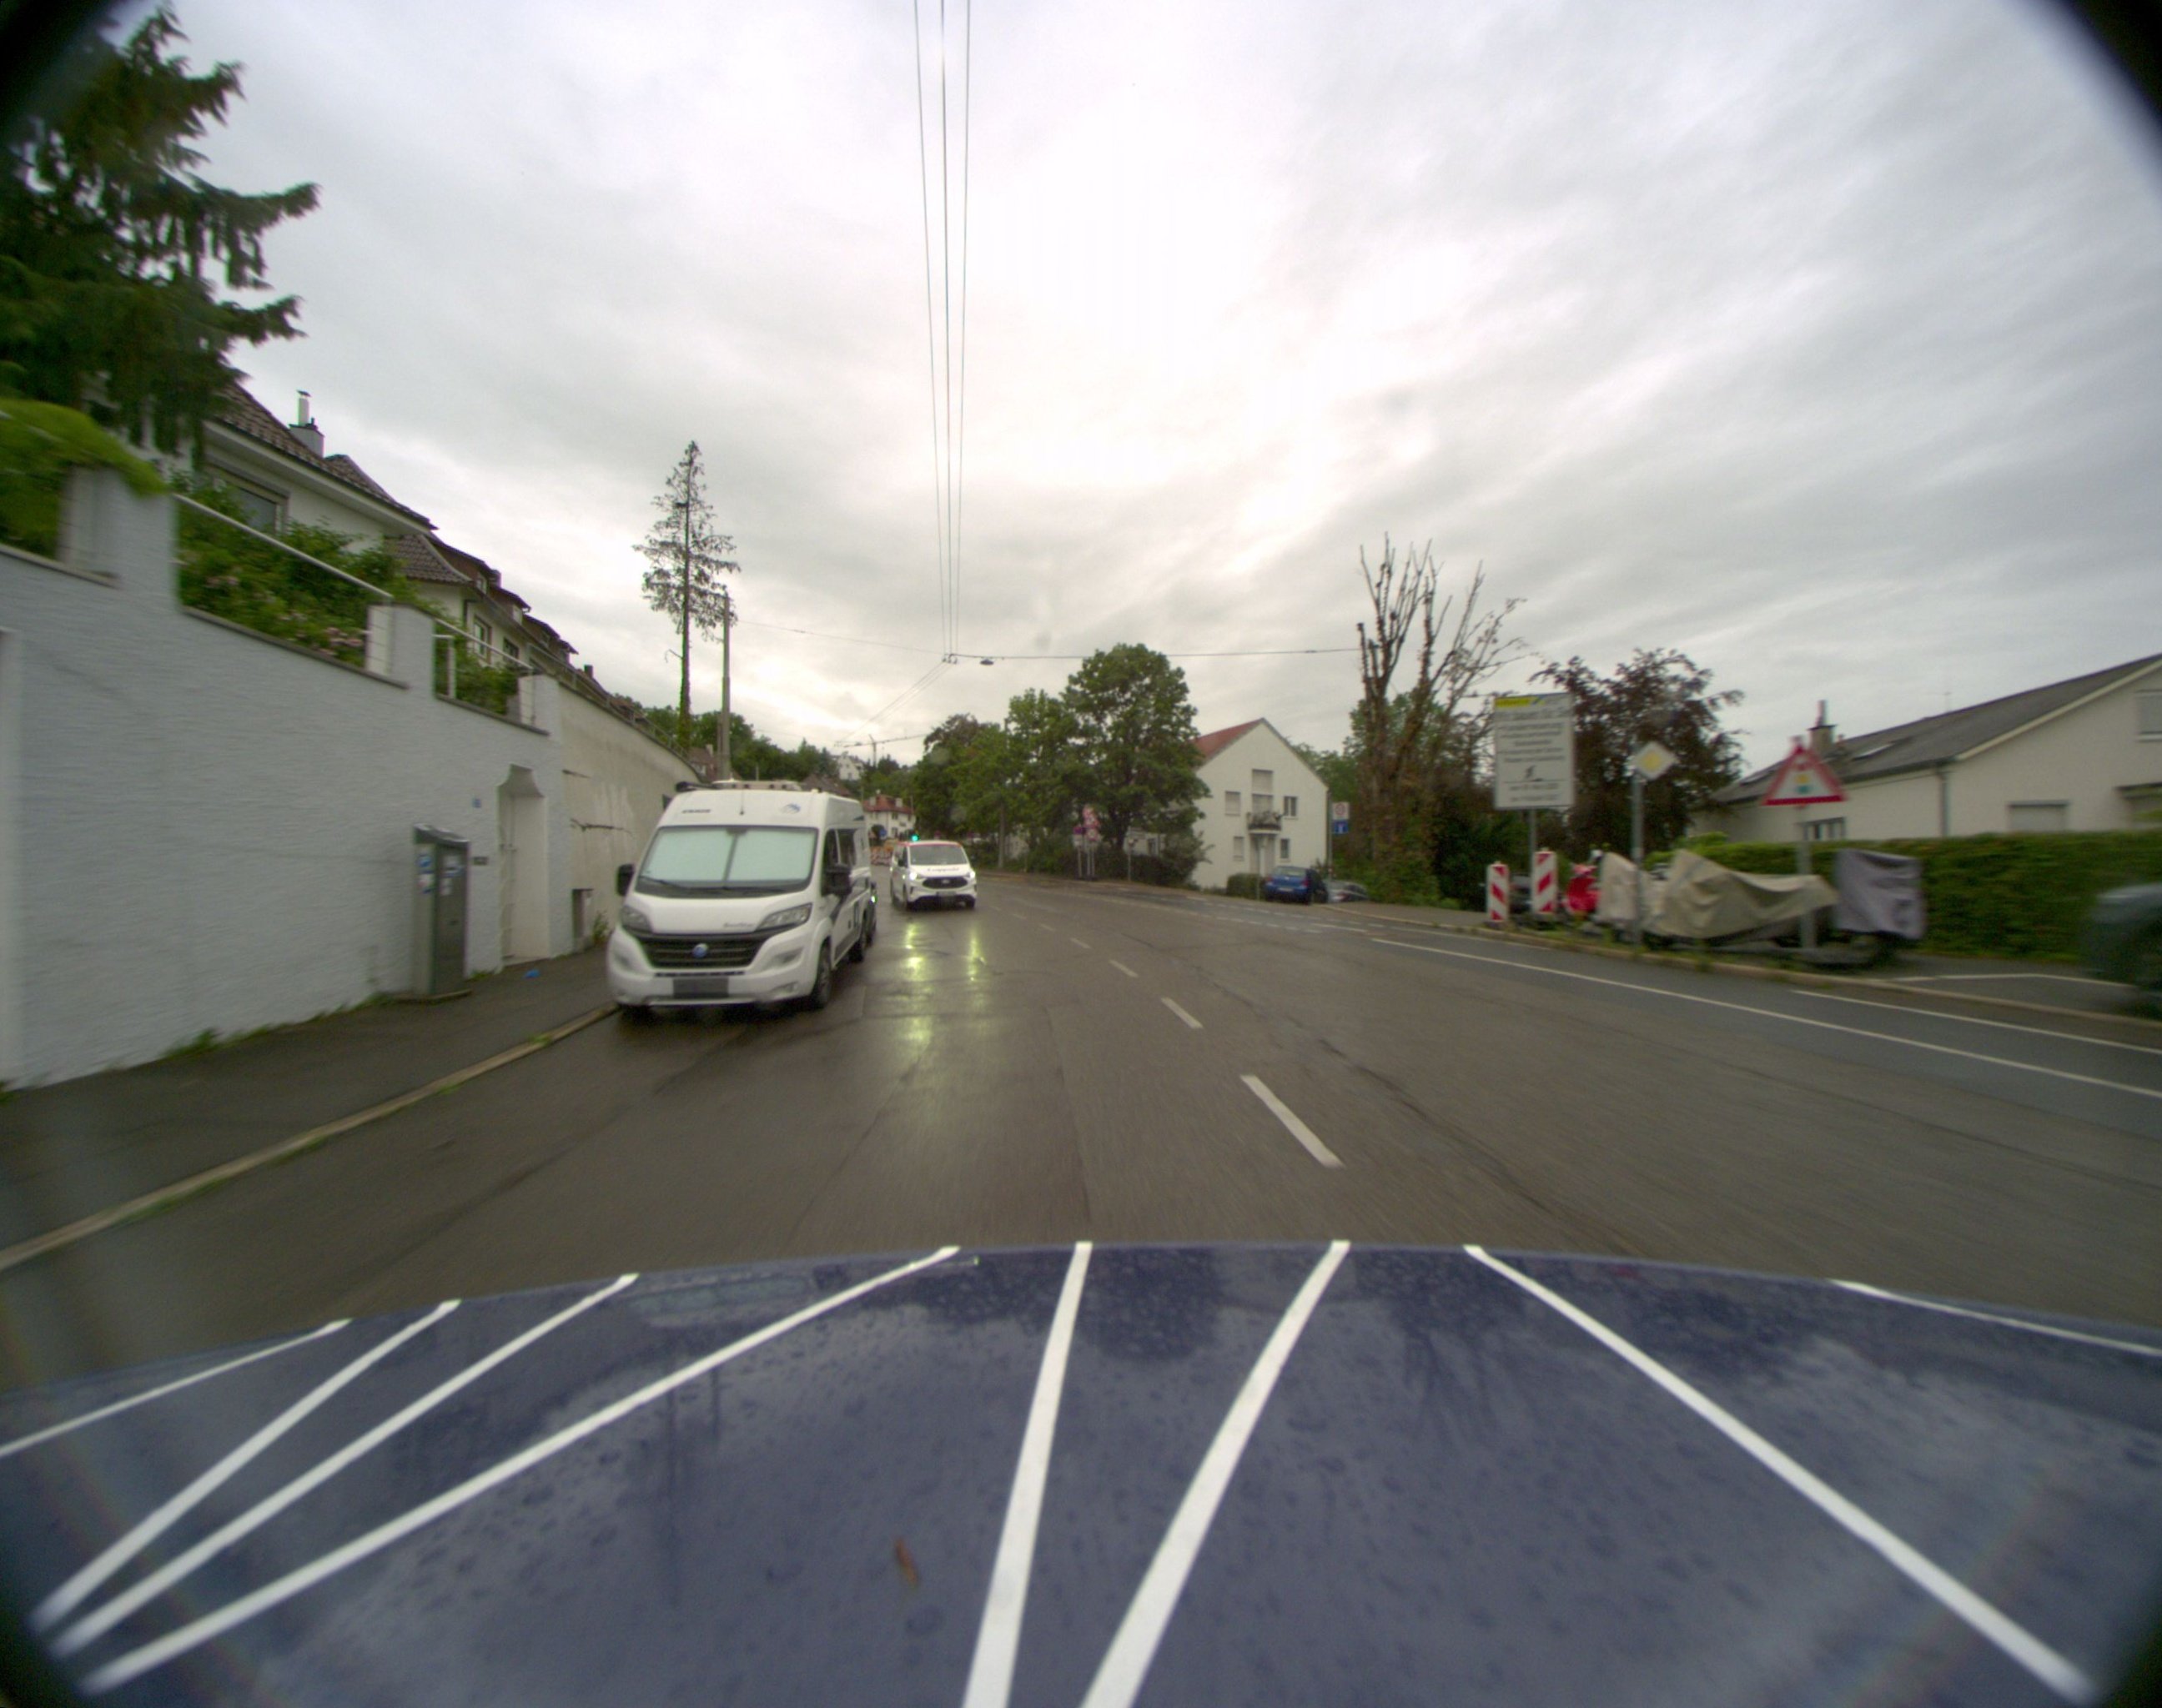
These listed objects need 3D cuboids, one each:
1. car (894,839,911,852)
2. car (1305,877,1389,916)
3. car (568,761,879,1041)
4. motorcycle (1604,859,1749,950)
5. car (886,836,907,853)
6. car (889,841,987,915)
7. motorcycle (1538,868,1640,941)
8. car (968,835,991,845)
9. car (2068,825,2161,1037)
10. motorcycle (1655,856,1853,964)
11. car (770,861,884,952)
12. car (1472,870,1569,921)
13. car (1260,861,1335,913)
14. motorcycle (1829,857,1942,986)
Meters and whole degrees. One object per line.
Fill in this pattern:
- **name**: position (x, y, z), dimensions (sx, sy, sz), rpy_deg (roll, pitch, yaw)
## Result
- **car**: position (-22.525, -1.081, 96.042), dimensions (1.579, 1.446, 3.461), rpy_deg (2, 2, -5)
- **car**: position (11.874, 1.839, 33.784), dimensions (4.090, 1.485, 1.836), rpy_deg (1, 1, -44)
- **car**: position (-4.008, 0.397, 9.794), dimensions (2.106, 2.528, 5.614), rpy_deg (1, 1, -9)
- **motorcycle**: position (8.849, 0.732, 11.309), dimensions (1.806, 1.272, 0.511), rpy_deg (-1, 0, -4)
- **car**: position (-21.772, -1.167, 89.867), dimensions (1.809, 1.917, 4.572), rpy_deg (3, 2, -7)
- **car**: position (-4.430, 0.633, 22.954), dimensions (2.045, 1.928, 4.506), rpy_deg (-3, 1, -21)
- **motorcycle**: position (8.625, 0.813, 12.992), dimensions (0.510, 1.133, 1.923), rpy_deg (2, 0, 3)
- **car**: position (-17.600, -2.455, 132.146), dimensions (1.806, 1.791, 4.469), rpy_deg (2, 2, 23)
- **car**: position (9.041, 0.529, 3.981), dimensions (1.927, 1.568, 4.387), rpy_deg (-2, 0, -3)
- **motorcycle**: position (8.662, 0.716, 9.875), dimensions (1.803, 1.295, 0.614), rpy_deg (-2, 0, 24)
- **car**: position (-4.937, 0.931, 15.270), dimensions (1.760, 1.487, 4.178), rpy_deg (1, 0, -13)
- **car**: position (13.307, 1.198, 23.234), dimensions (1.552, 1.319, 3.567), rpy_deg (2, 0, 13)
- **car**: position (8.277, 1.175, 28.826), dimensions (1.836, 1.657, 3.949), rpy_deg (3, 2, 28)
- **motorcycle**: position (9.060, 0.703, 8.535), dimensions (1.910, 1.264, 0.574), rpy_deg (-2, 0, -35)
